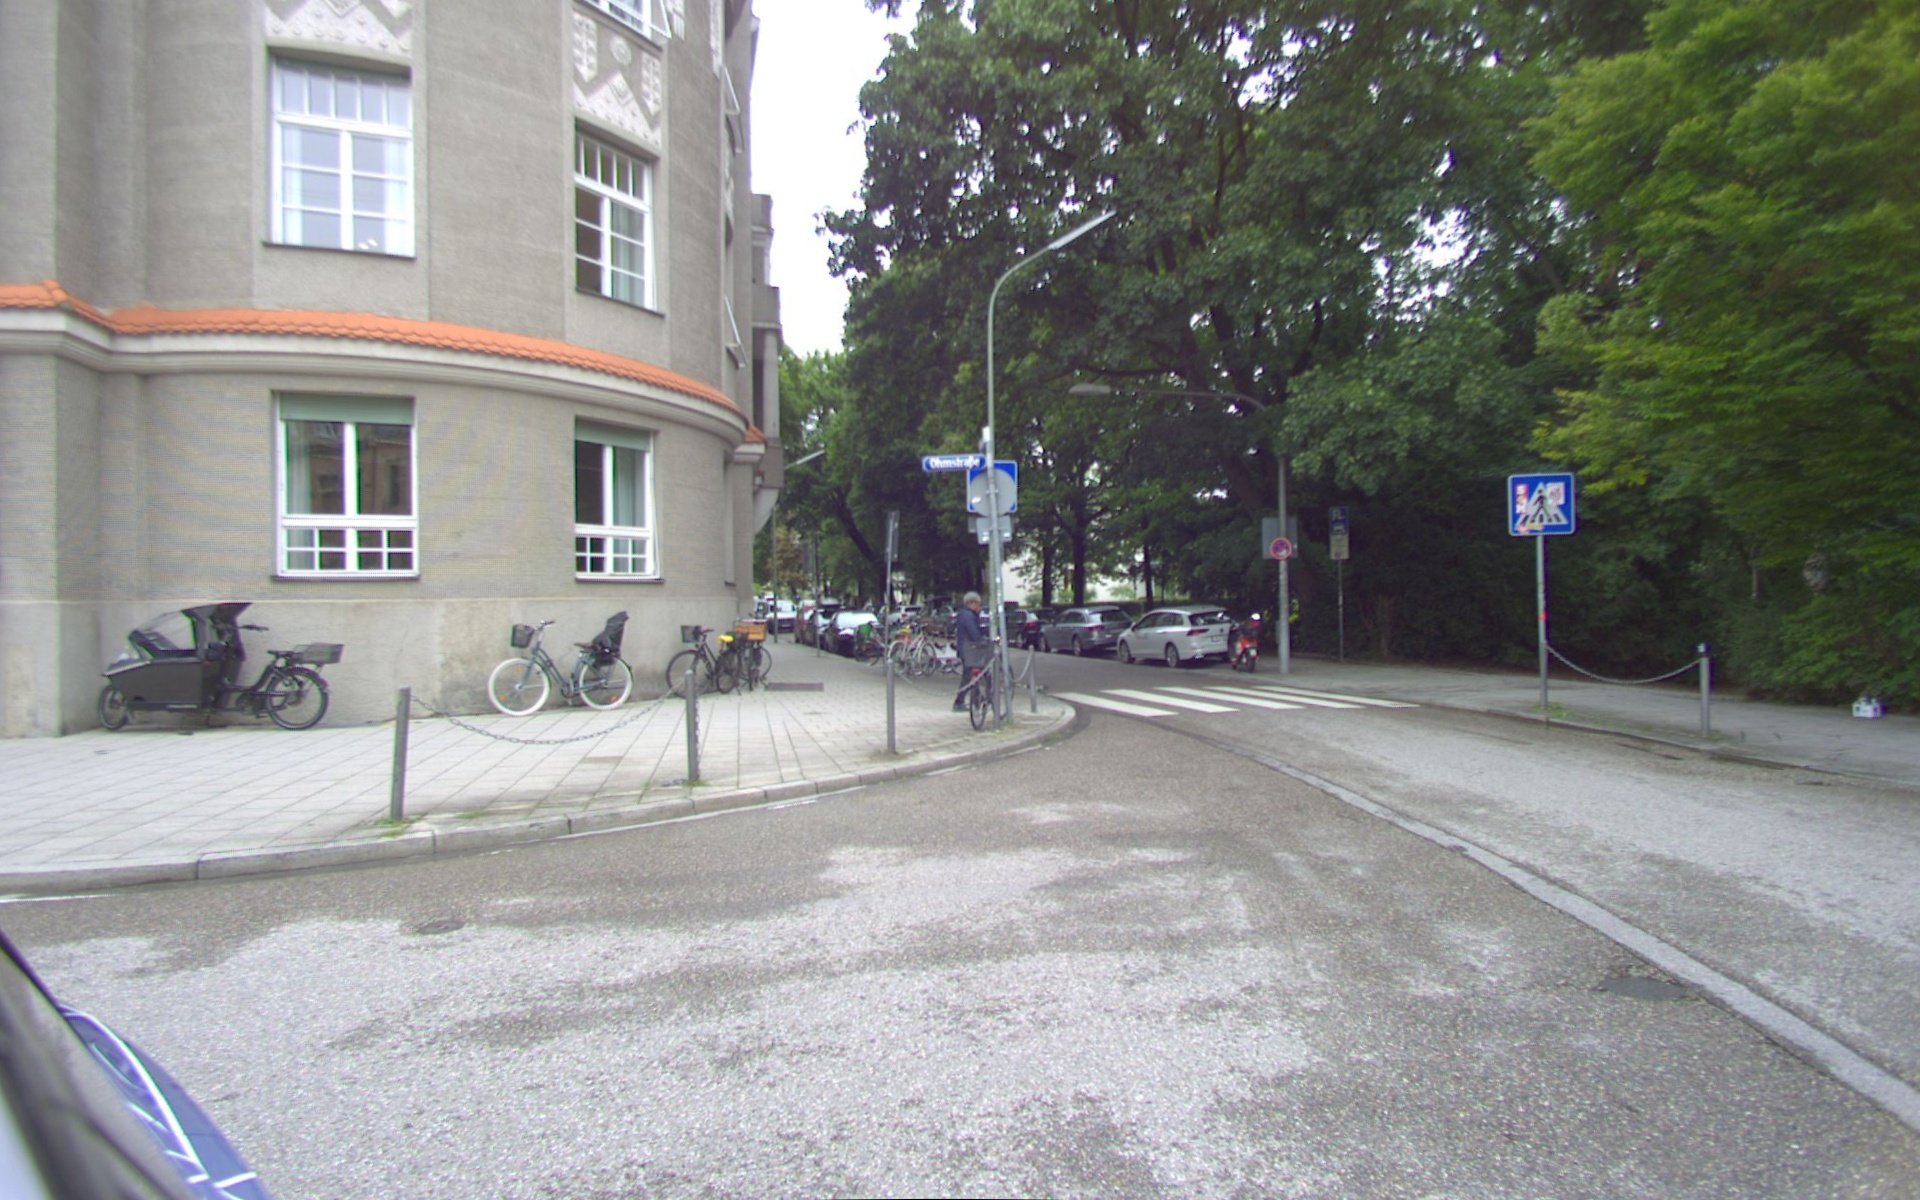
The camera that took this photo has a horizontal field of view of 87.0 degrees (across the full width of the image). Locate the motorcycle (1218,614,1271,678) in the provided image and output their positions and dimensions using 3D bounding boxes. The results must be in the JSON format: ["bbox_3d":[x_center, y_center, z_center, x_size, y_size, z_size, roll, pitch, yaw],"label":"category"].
[{"bbox_3d":[6.003,0.947,21.466,0.850,1.192,1.998,-4,-1,12],"label":"motorcycle"}]

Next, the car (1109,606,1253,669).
[{"bbox_3d":[5.541,0.914,25.966,1.597,1.460,4.449,0,-1,-17],"label":"car"}]

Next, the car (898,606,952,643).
[{"bbox_3d":[-1.913,1.258,53.431,1.747,1.849,4.530,0,-1,-16],"label":"car"}]

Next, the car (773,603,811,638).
[{"bbox_3d":[-10.044,1.199,60.364,1.967,1.966,4.673,-1,0,-13],"label":"car"}]

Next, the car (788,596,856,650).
[{"bbox_3d":[-5.458,0.840,39.449,1.966,1.966,4.675,-1,0,-16],"label":"car"}]

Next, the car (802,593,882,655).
[{"bbox_3d":[-4.119,0.765,34.659,1.966,1.966,4.675,-1,0,-16],"label":"car"}]

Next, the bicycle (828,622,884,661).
[{"bbox_3d":[-3.203,1.282,31.224,1.662,1.156,0.511,0,0,3],"label":"bicycle"}]

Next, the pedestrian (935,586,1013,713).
[{"bbox_3d":[0.193,0.648,13.776,0.810,1.654,0.719,0,0,30],"label":"pedestrian"}]

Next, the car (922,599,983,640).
[{"bbox_3d":[-0.424,0.903,48.076,1.747,1.832,4.530,0,0,-16],"label":"car"}]

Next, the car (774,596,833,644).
[{"bbox_3d":[-6.998,0.830,44.851,1.966,1.966,4.675,-1,0,-16],"label":"car"}]

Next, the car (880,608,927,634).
[{"bbox_3d":[-3.321,1.210,58.412,1.747,1.443,4.530,0,-1,-16],"label":"car"}]

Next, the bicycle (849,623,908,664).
[{"bbox_3d":[-2.358,1.244,29.314,1.662,1.156,0.511,0,0,3],"label":"bicycle"}]

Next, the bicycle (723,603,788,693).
[{"bbox_3d":[-3.446,0.779,17.225,0.728,1.424,1.926,0,0,0],"label":"bicycle"}]

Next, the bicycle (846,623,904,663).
[{"bbox_3d":[-2.525,1.281,30.108,1.662,1.156,0.511,0,0,3],"label":"bicycle"}]

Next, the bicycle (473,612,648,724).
[{"bbox_3d":[-4.956,0.800,12.635,1.897,1.265,0.739,-1,0,-43],"label":"bicycle"}]

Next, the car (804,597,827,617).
[{"bbox_3d":[-14.453,0.666,101.121,1.967,1.966,4.673,-1,0,-13],"label":"car"}]

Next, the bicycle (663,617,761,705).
[{"bbox_3d":[-3.676,0.875,15.185,0.560,1.165,1.917,3,1,14],"label":"bicycle"}]

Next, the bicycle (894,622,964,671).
[{"bbox_3d":[-0.739,1.123,24.604,1.662,1.156,0.511,0,0,3],"label":"bicycle"}]

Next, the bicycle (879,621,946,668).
[{"bbox_3d":[-1.209,1.140,25.971,1.662,1.156,0.511,0,0,3],"label":"bicycle"}]

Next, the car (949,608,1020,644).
[{"bbox_3d":[0.970,1.069,42.945,1.747,1.443,4.530,0,-1,-16],"label":"car"}]

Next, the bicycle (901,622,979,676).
[{"bbox_3d":[-0.437,1.088,22.391,1.686,1.156,0.511,0,0,3],"label":"bicycle"}]

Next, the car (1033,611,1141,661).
[{"bbox_3d":[3.938,1.095,32.183,1.747,1.443,4.530,0,-1,-16],"label":"car"}]

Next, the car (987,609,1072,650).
[{"bbox_3d":[2.542,1.078,38.141,1.747,1.443,4.530,0,-1,-16],"label":"car"}]

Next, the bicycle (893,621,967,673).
[{"bbox_3d":[-0.678,1.068,23.180,1.662,1.156,0.466,0,0,3],"label":"bicycle"}]

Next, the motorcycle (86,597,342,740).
[{"bbox_3d":[-8.017,0.702,10.976,2.111,1.451,0.740,-1,0,-14],"label":"motorcycle"}]

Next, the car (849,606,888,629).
[{"bbox_3d":[-6.190,1.155,67.743,1.747,1.443,4.530,0,-1,-16],"label":"car"}]

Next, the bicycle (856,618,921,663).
[{"bbox_3d":[-1.884,1.078,26.737,1.662,1.156,0.511,0,0,3],"label":"bicycle"}]

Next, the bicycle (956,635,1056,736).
[{"bbox_3d":[0.588,0.971,12.098,0.509,1.018,1.992,0,0,24],"label":"bicycle"}]

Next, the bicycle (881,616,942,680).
[{"bbox_3d":[-0.938,0.920,19.914,0.509,1.156,1.670,0,0,24],"label":"bicycle"}]
